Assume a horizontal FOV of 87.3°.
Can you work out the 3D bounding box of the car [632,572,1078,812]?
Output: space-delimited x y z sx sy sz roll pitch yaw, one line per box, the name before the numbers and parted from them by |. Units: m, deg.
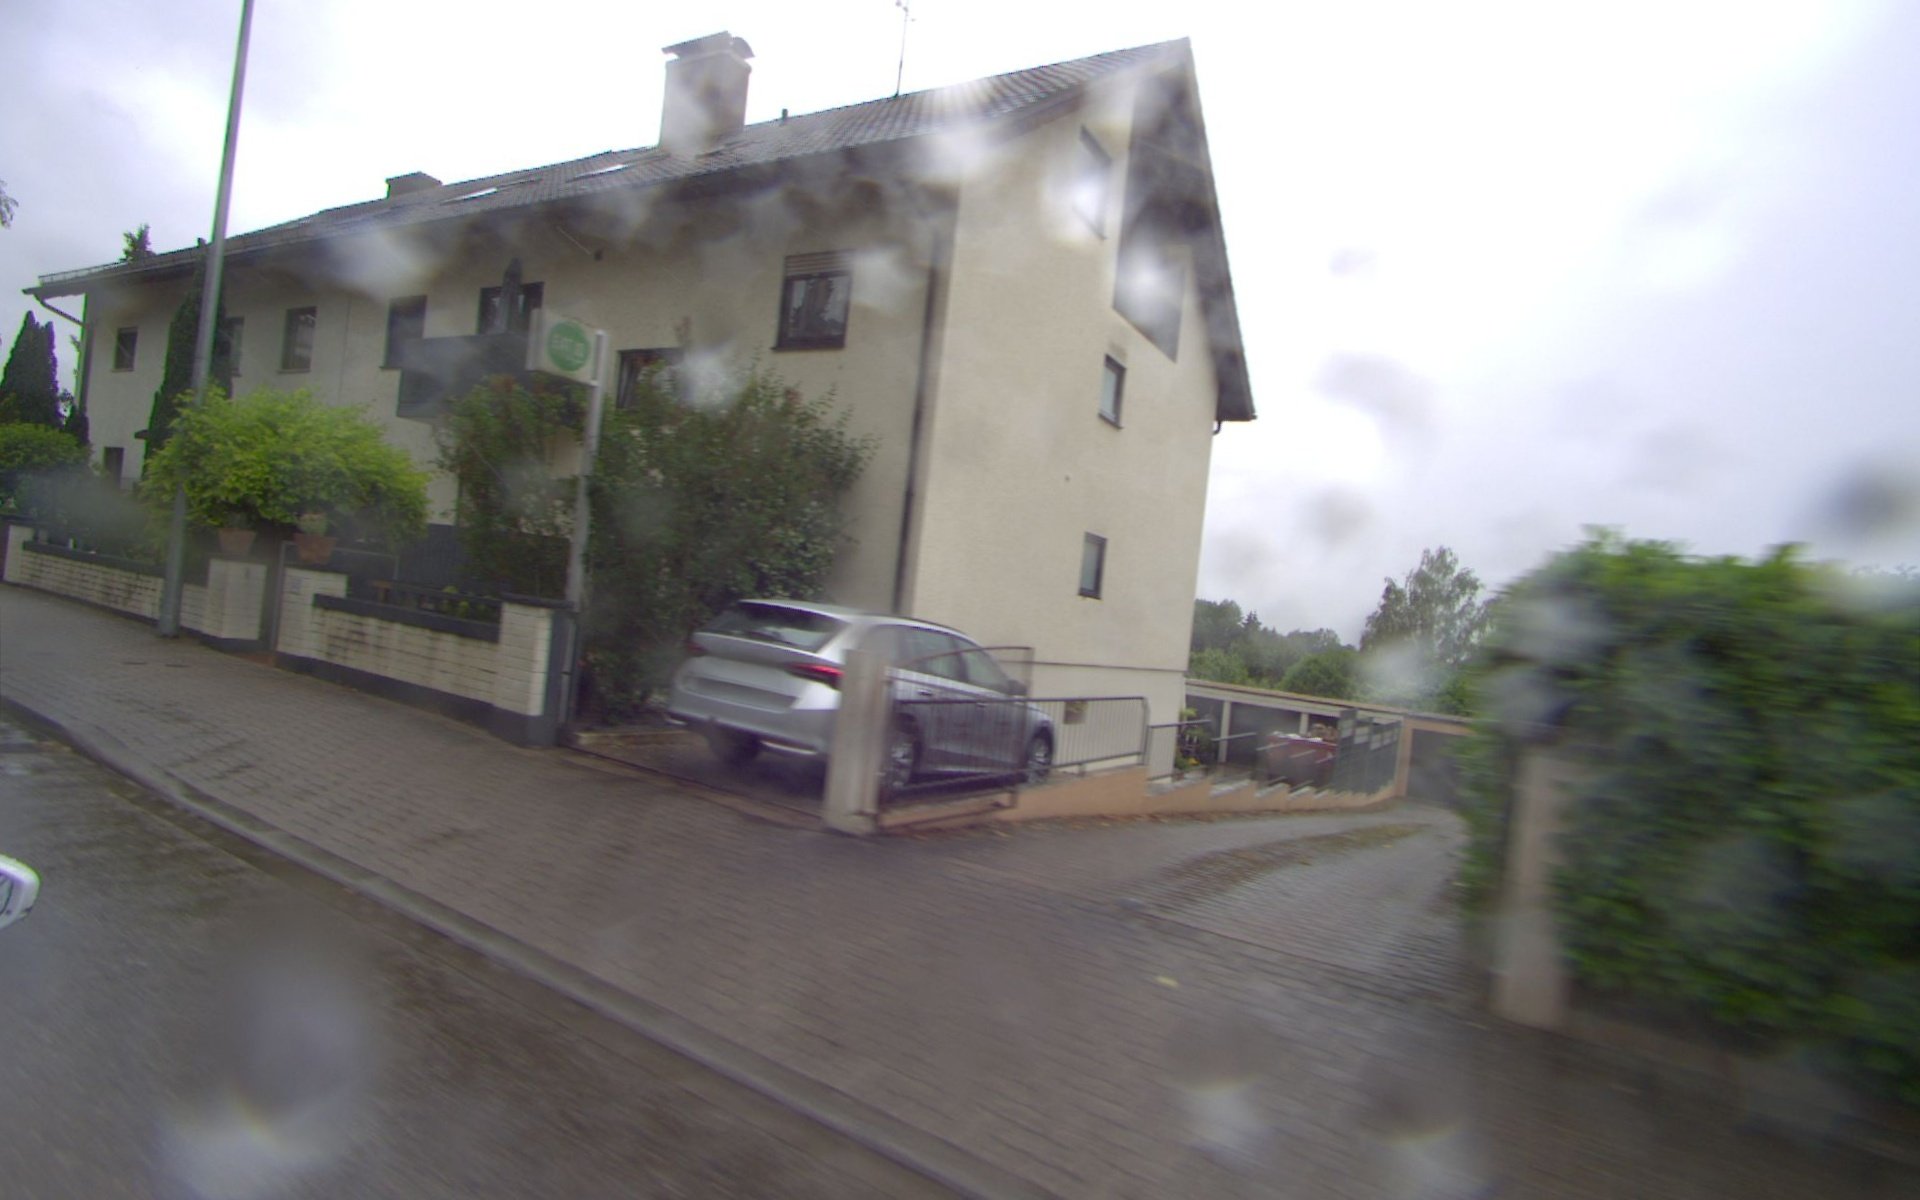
car | -0.620 0.850 8.981 1.673 1.462 4.234 7 -3 30
